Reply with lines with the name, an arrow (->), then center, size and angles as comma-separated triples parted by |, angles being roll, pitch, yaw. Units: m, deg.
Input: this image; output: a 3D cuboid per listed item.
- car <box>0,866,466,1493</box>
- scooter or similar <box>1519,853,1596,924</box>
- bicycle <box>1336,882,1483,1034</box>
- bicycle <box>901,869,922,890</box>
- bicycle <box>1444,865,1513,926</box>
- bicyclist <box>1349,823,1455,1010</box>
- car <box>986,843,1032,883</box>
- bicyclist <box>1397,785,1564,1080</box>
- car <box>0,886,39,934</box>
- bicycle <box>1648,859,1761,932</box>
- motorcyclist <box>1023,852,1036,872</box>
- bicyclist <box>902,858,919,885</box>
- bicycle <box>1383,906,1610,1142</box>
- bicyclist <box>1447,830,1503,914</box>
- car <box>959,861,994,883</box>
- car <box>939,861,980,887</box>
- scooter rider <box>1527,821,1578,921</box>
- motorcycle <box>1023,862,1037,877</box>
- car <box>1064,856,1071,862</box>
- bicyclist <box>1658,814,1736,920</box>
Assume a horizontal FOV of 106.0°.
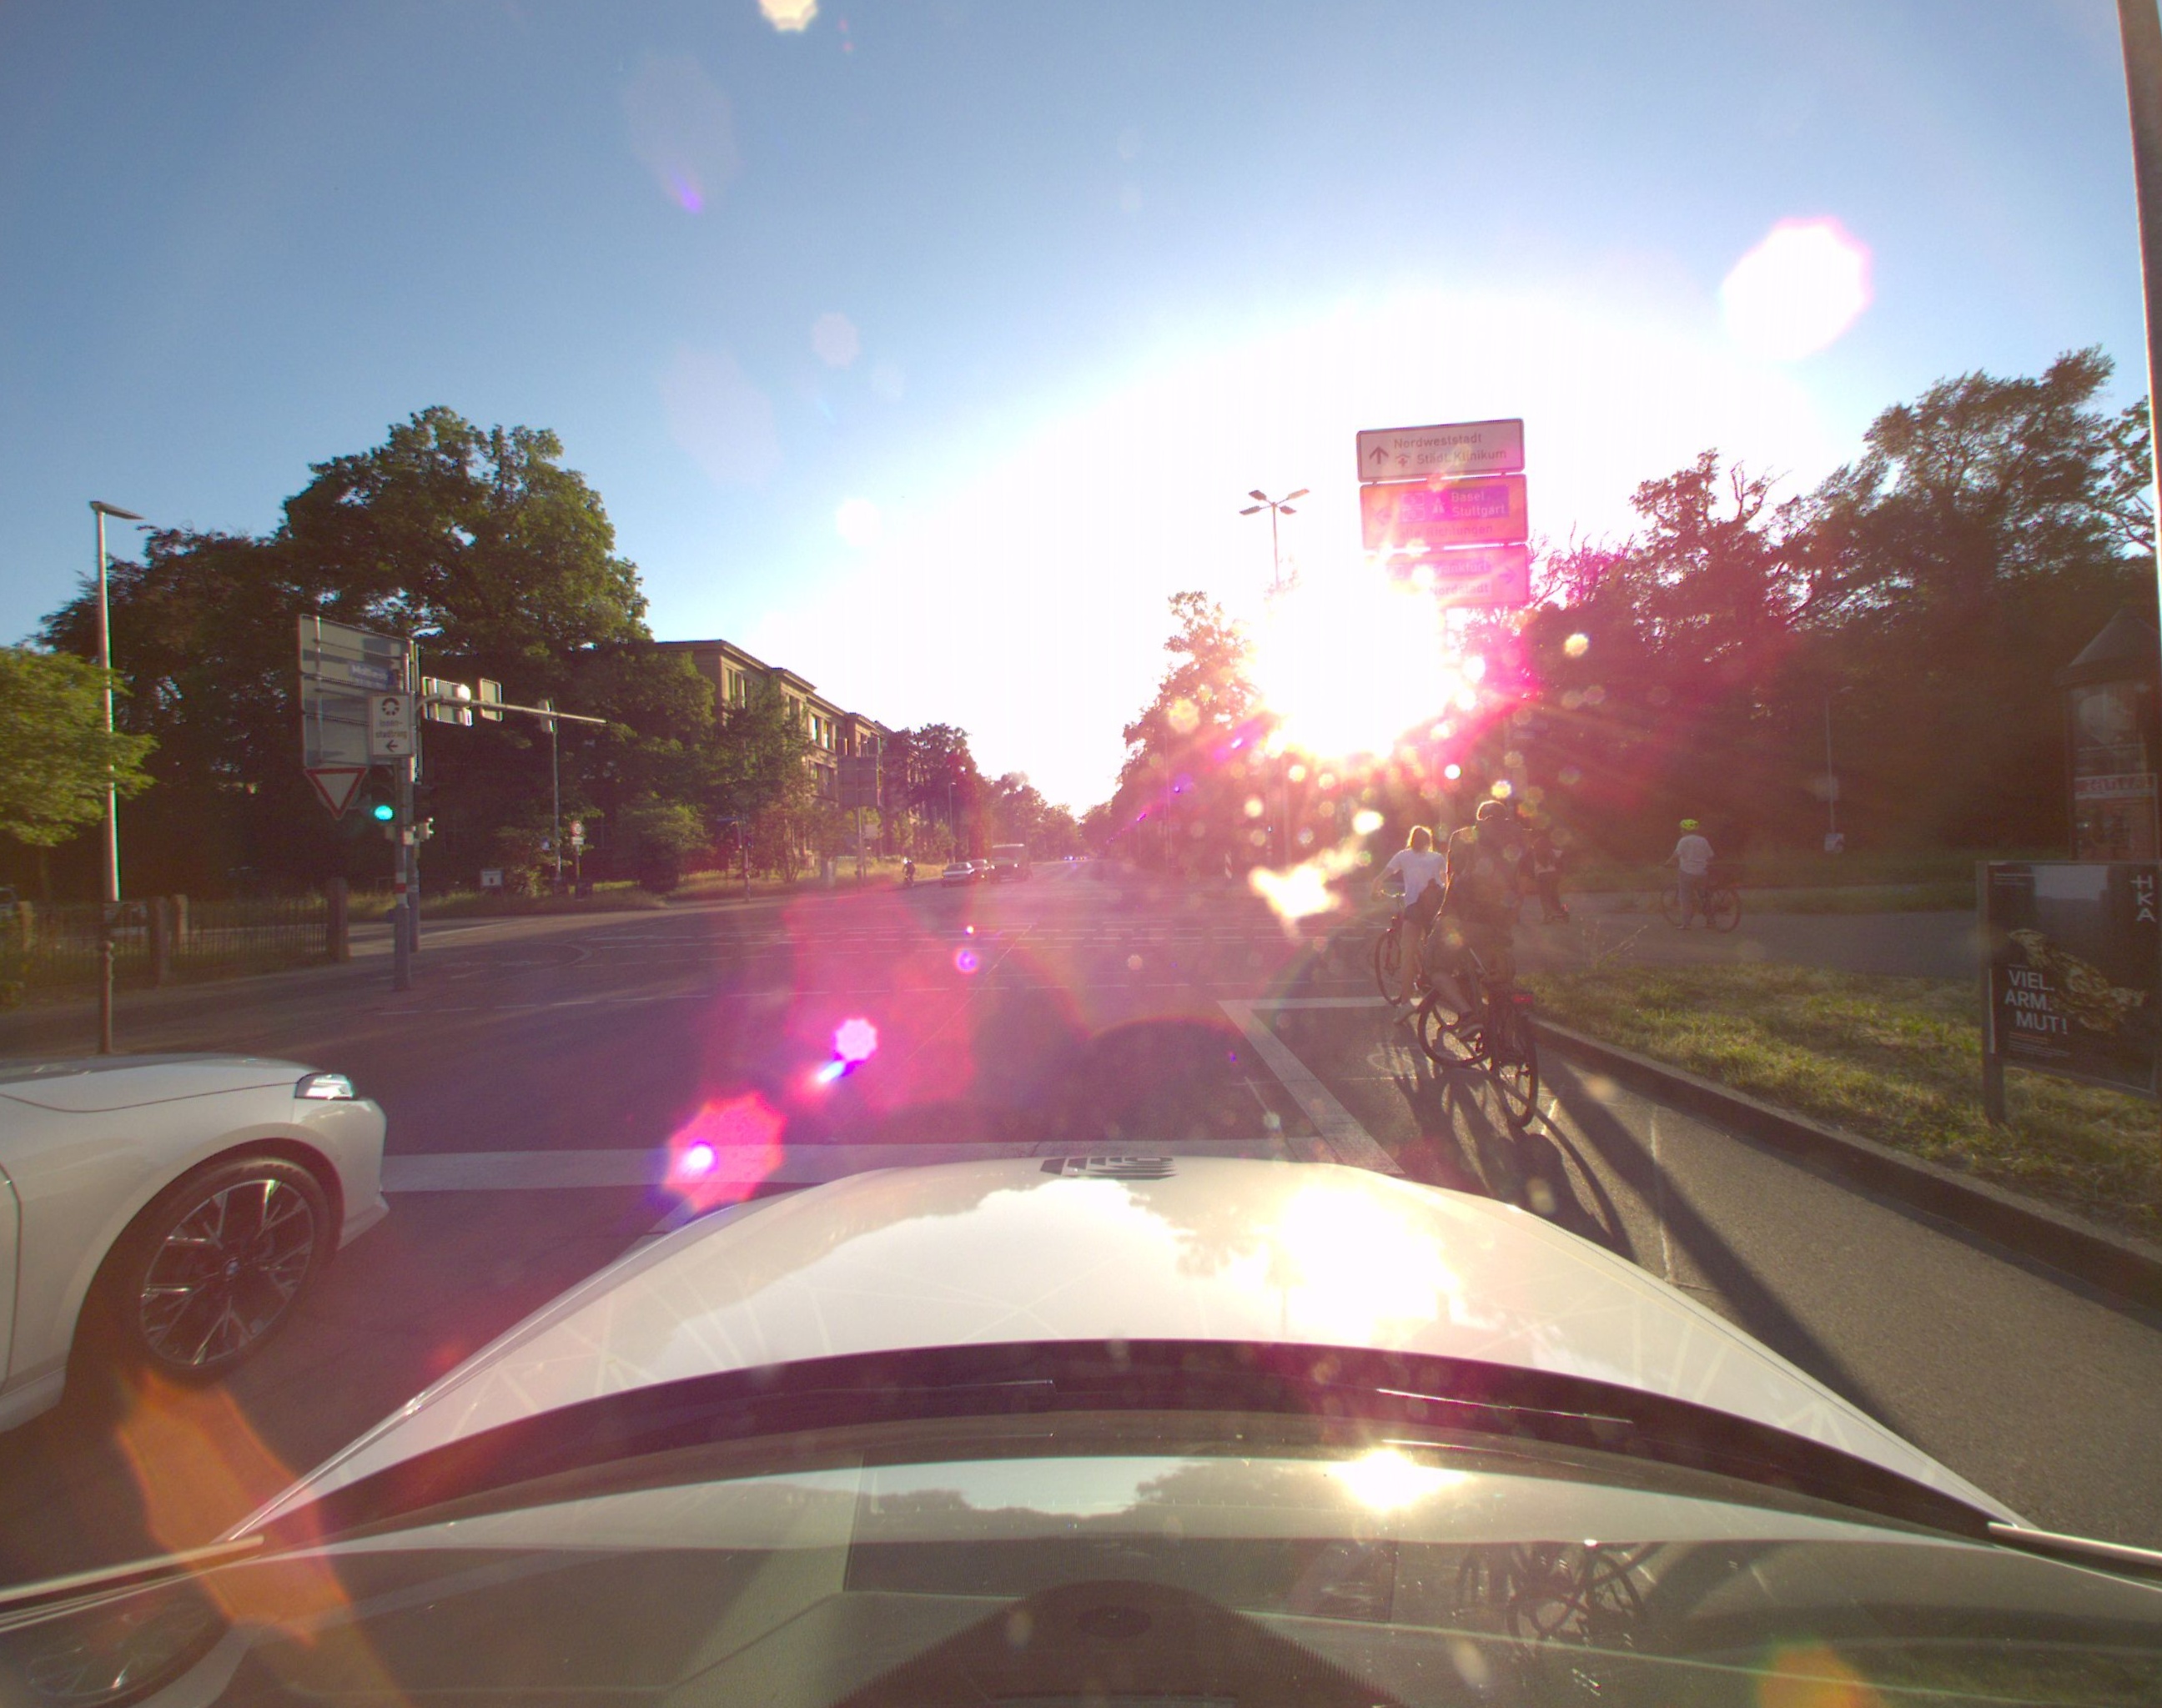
car -> -3.466, 0.811, 1.263 | 1.746, 1.466, 4.189 | -2, 0, 1
scooter or similar -> 8.544, 0.597, 14.660 | 0.559, 1.189, 1.423 | -2, -1, 3
bicycle -> 2.901, 0.859, 7.405 | 0.611, 1.138, 1.885 | -1, 0, 2
bicycle -> -9.938, 1.484, 47.707 | 0.684, 1.123, 2.169 | -2, 0, 2
bicycle -> 7.309, 0.744, 15.081 | 0.765, 1.007, 2.024 | -1, 0, 15
bicyclist -> 2.893, 0.534, 7.414 | 0.601, 1.586, 0.910 | -1, 0, 2
car -> -4.410, 0.525, 50.816 | 2.031, 2.278, 5.943 | -2, 0, 2
bicyclist -> 2.428, 0.446, 5.045 | 0.694, 1.667, 0.800 | -1, 0, 8
car -> -44.645, 2.302, 32.329 | 4.093, 1.845, 1.863 | -2, 0, 0
bicycle -> 9.510, 0.595, 12.503 | 0.560, 1.014, 1.807 | -2, 0, 9
motorcyclist -> -3.546, 0.529, 56.371 | 0.747, 1.358, 0.704 | -2, -1, 1
bicyclist -> -9.957, 1.015, 47.617 | 0.680, 1.512, 0.956 | -2, 0, 2
bicycle -> 2.433, 0.915, 5.032 | 0.694, 1.063, 1.829 | -1, 0, 9
bicyclist -> 7.334, 0.323, 15.207 | 0.754, 1.518, 0.860 | -1, 0, 15
car -> -7.207, 1.228, 56.509 | 1.758, 1.328, 3.645 | -2, 0, 2
car -> -7.414, 1.197, 49.931 | 1.723, 1.409, 4.141 | -2, 0, 2
scooter rider -> 8.540, 0.301, 14.766 | 0.563, 1.766, 0.505 | -2, -1, 3
motorcycle -> -3.528, 1.083, 56.372 | 0.751, 1.001, 1.880 | -2, 0, 2
car -> -3.820, 1.339, 224.100 | 1.766, 1.474, 3.773 | -2, 0, -2
bicyclist -> 9.512, 0.197, 12.603 | 0.550, 1.569, 0.901 | -2, 0, 9
